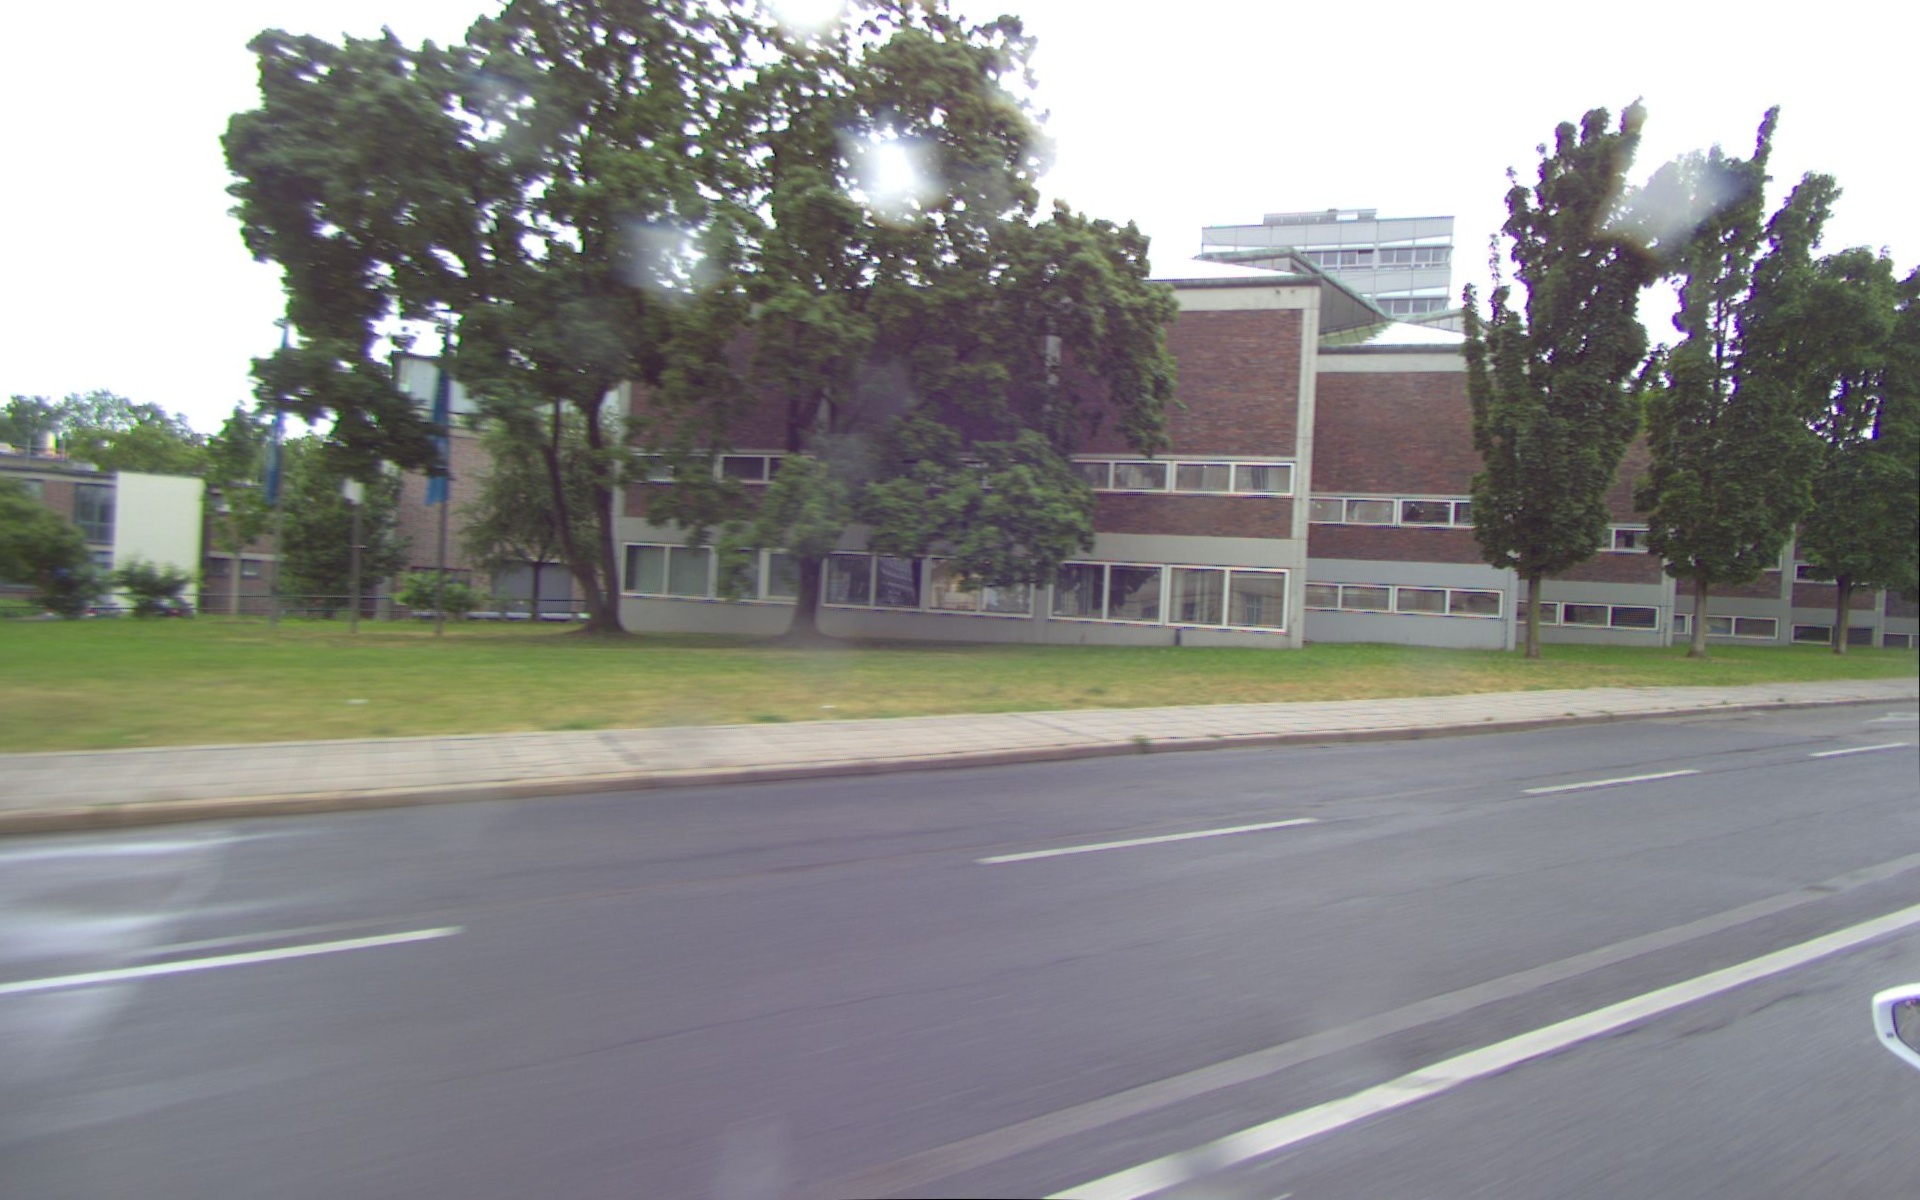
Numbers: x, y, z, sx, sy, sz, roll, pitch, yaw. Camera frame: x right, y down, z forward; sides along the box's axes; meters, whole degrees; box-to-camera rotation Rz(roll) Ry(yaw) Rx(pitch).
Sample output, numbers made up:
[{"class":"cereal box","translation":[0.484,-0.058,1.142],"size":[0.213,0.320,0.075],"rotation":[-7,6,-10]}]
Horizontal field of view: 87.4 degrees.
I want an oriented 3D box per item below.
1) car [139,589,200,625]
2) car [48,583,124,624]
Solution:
[{"class":"car","translation":[-34.470,0.270,43.891],"size":[1.637,1.368,3.816],"rotation":[2,1,-32]},{"class":"car","translation":[-36.995,0.130,42.617],"size":[1.779,1.539,3.964],"rotation":[2,1,-32]}]
